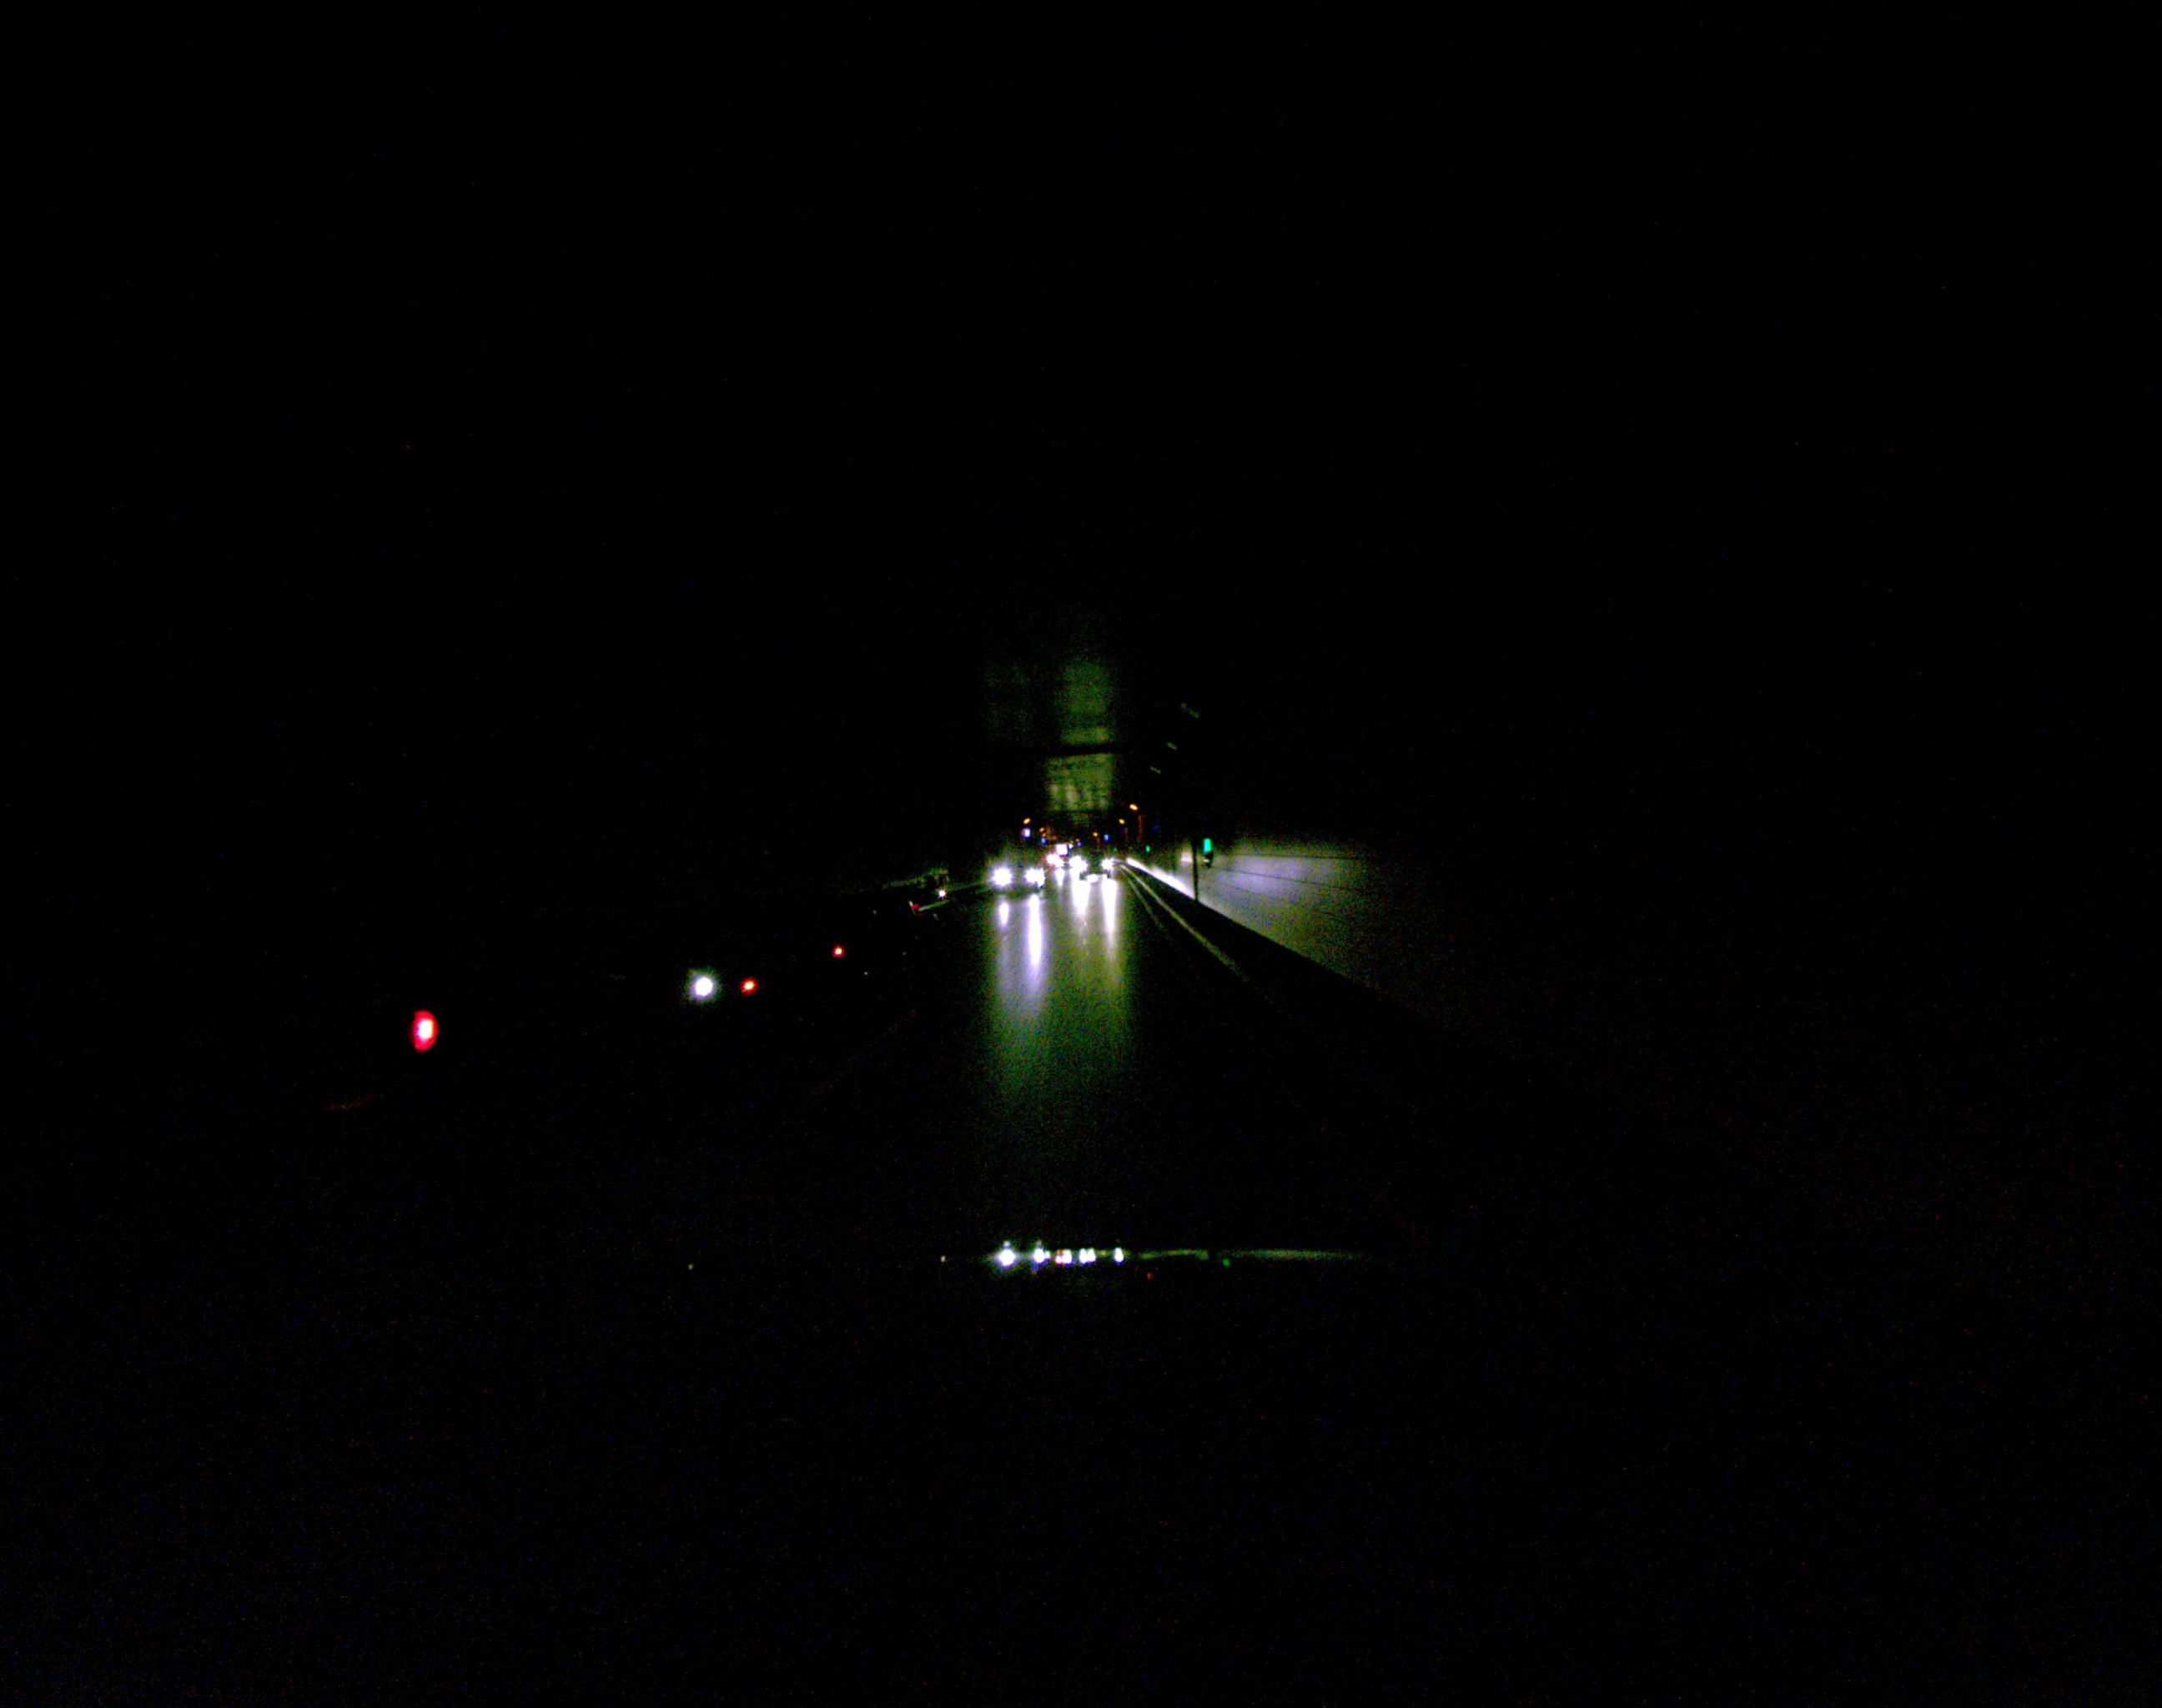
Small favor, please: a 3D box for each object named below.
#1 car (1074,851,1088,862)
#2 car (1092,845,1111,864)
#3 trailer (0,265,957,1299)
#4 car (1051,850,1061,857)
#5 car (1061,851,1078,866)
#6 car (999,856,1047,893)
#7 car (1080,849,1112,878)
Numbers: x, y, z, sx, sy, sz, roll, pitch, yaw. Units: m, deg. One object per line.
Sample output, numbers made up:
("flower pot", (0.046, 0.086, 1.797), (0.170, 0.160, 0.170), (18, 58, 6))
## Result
("car", (0.037, 0.335, 114.475), (1.998, 1.576, 4.651), (-3, 1, 0))
("car", (2.117, 0.028, 79.588), (1.715, 1.729, 3.998), (-3, 2, 0))
("trailer", (-3.512, -0.242, 7.376), (2.882, 3.836, 8.947), (-3, 0, 0))
("car", (-5.997, -0.094, 183.571), (1.998, 1.674, 3.999), (-3, 1, 0))
("car", (-1.252, 0.491, 83.023), (1.736, 1.565, 3.999), (-4, 0, -1))
("car", (-2.464, 0.845, 32.958), (1.735, 1.395, 3.798), (-3, 1, 0))
("car", (0.899, 0.518, 45.160), (1.820, 1.589, 4.000), (-1, 0, 1))
